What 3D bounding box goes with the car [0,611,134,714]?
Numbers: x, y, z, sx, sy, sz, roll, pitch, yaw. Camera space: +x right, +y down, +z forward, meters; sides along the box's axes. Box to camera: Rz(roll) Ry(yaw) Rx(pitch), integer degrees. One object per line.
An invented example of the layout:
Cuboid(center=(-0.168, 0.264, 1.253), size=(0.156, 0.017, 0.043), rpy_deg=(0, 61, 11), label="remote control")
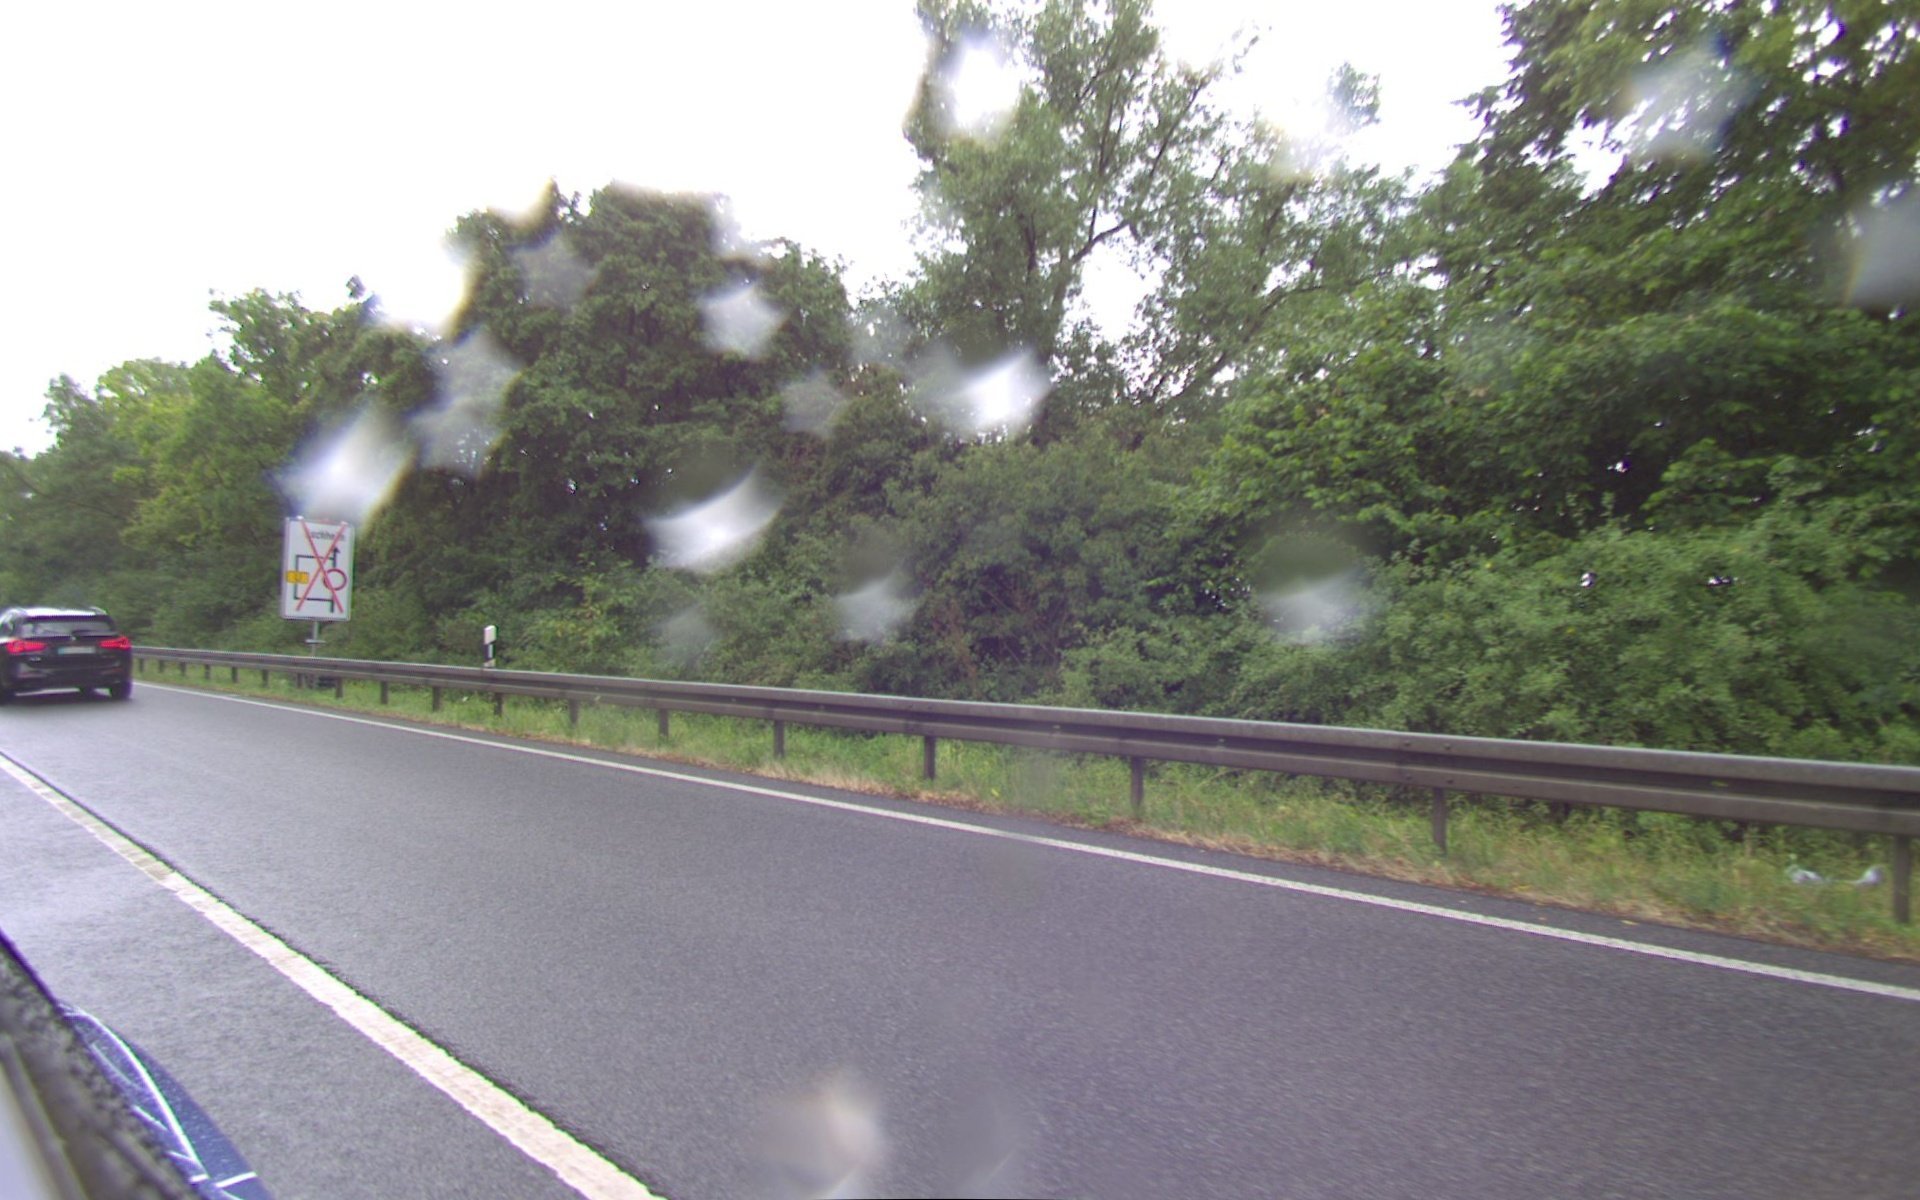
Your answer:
Cuboid(center=(-16.819, 1.068, 18.604), size=(4.295, 1.656, 1.828), rpy_deg=(-1, -1, 41), label="car")
